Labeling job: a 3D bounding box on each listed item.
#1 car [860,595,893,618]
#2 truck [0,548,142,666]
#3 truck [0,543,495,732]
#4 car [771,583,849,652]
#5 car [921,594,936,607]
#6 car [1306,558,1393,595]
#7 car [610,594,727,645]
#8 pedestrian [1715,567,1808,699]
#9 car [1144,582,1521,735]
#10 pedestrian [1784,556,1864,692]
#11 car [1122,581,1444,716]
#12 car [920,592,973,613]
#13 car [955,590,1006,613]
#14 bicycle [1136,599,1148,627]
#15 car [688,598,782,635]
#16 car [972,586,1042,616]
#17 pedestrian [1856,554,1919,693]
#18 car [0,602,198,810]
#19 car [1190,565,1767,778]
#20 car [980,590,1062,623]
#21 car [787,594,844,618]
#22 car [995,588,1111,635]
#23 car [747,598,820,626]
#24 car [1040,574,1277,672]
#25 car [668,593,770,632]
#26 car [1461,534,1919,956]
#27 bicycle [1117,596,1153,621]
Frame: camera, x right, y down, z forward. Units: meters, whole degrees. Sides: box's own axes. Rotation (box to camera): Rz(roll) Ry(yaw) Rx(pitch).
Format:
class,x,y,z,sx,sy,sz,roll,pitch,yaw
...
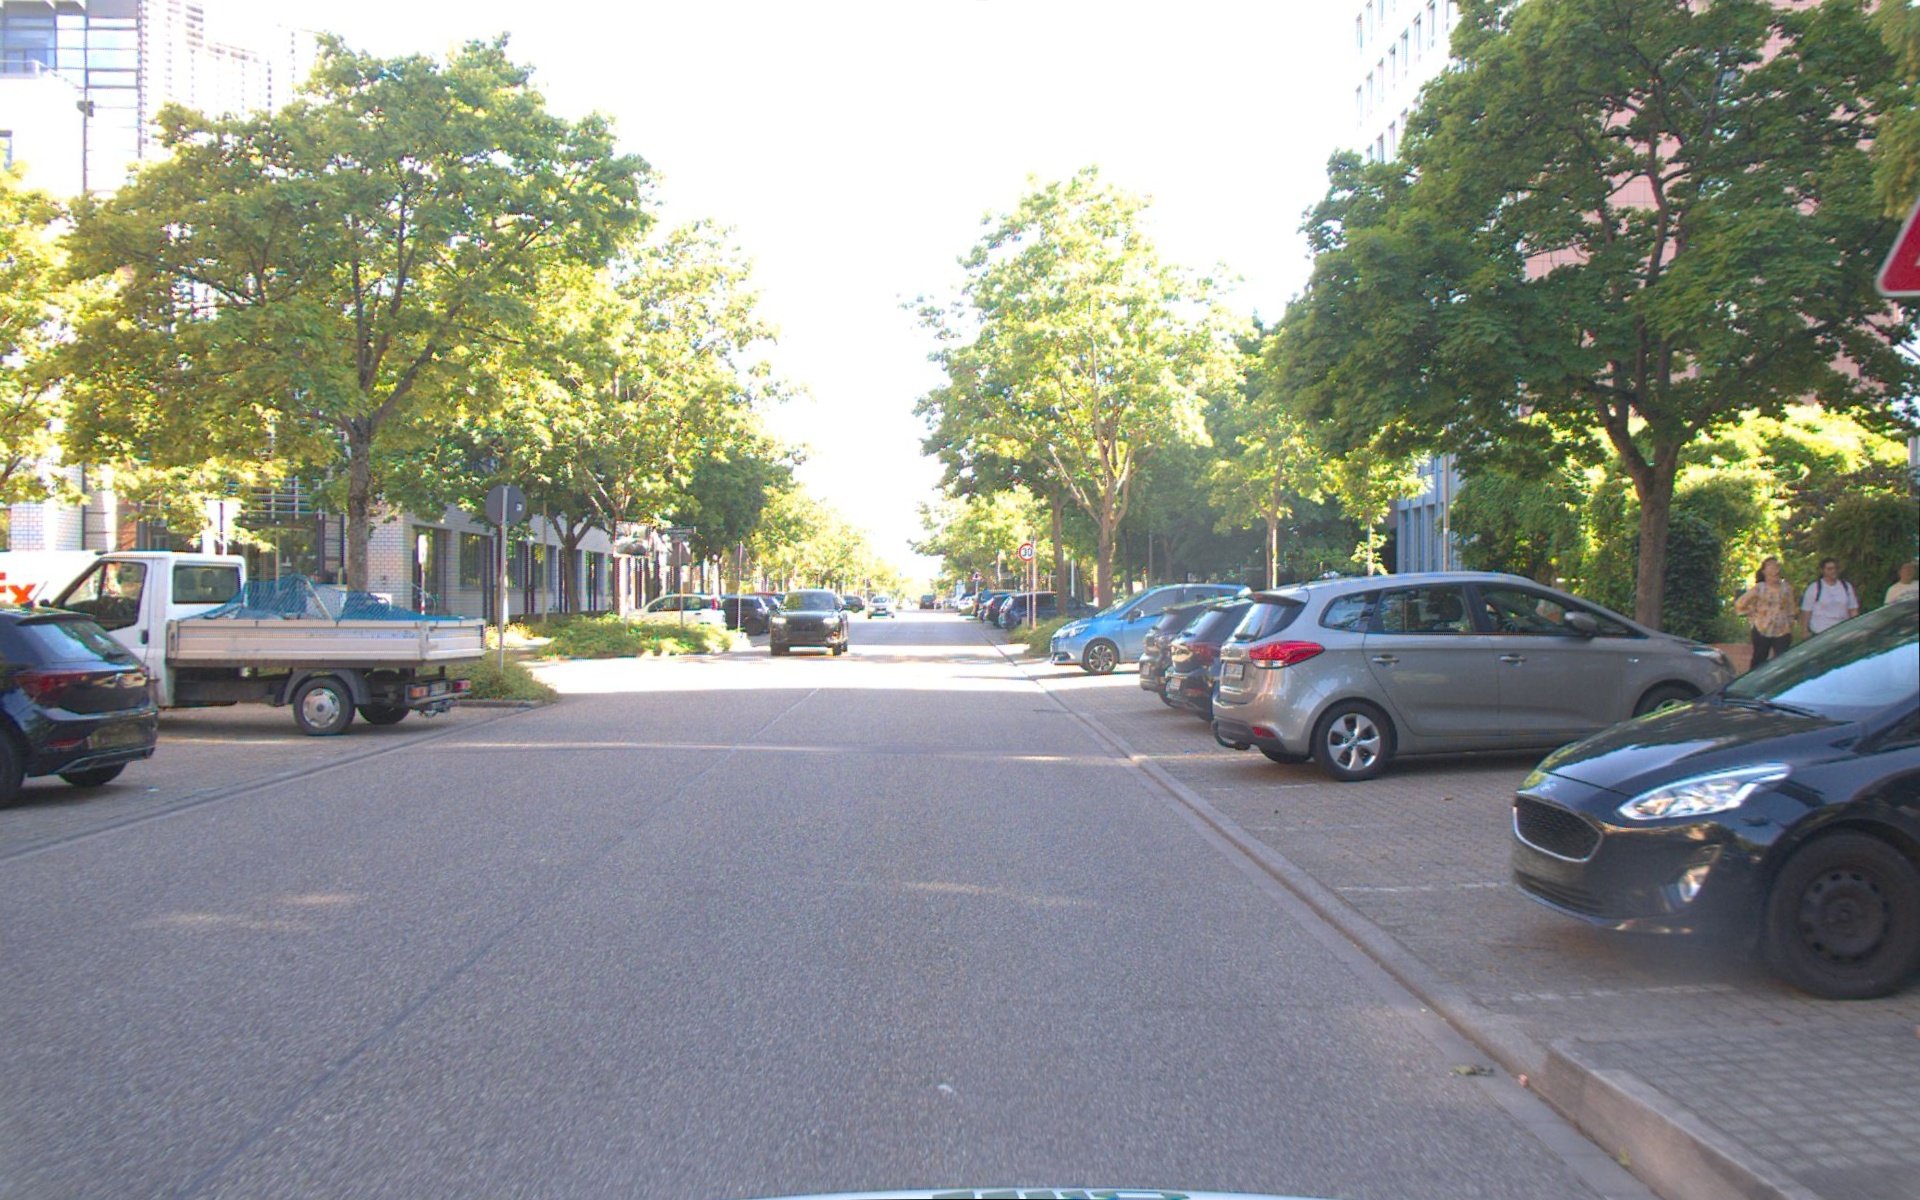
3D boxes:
class,x,y,z,sx,sy,sz,roll,pitch,yaw
car,-5.412,0.402,107.993,1.775,1.440,4.109,0,0,2
truck,-23.472,0.183,40.052,5.982,2.752,2.576,0,0,-3
truck,-8.062,0.400,18.843,4.882,1.993,2.138,0,0,1
car,-3.878,0.434,43.405,1.854,1.713,4.350,0,0,-3
car,-4.110,0.053,214.117,1.894,1.625,4.365,0,0,-1
car,20.322,-1.220,86.362,3.993,1.814,1.998,2,-1,-5
car,-9.339,0.634,53.220,3.509,1.577,1.636,0,-3,-4
pedestrian,9.272,0.370,19.143,0.686,1.483,0.715,1,0,-4
car,4.089,0.606,18.488,3.728,1.433,1.700,-3,1,-7
pedestrian,10.026,0.270,19.199,0.590,1.547,0.594,-1,0,-4
car,4.124,0.588,21.540,3.769,1.509,1.824,-3,1,-2
car,-1.062,0.187,127.178,3.910,1.653,1.997,0,0,-6
car,1.654,0.125,133.822,3.910,1.824,1.997,0,0,-6
bicycle,7.379,0.519,66.955,0.371,1.065,1.886,-2,0,4
car,-9.161,0.660,67.498,3.657,1.489,1.676,0,0,-2
car,2.645,0.079,93.865,3.814,1.685,1.857,0,0,-3
pedestrian,10.941,0.263,19.213,0.741,1.579,0.559,-1,0,-4
car,-8.153,0.742,12.535,3.905,1.460,1.789,0,0,0
car,4.283,0.544,14.033,4.269,1.625,1.936,0,0,-8
car,3.018,0.305,81.904,3.962,1.517,1.549,-1,0,-1
car,-10.424,0.432,119.328,3.904,1.683,1.860,-1,0,1
car,3.478,0.430,62.625,4.183,1.662,1.857,-1,0,-4
car,-9.468,0.660,88.951,3.814,1.489,1.857,0,0,-2
car,3.833,0.441,32.468,4.317,1.646,1.911,-3,0,-2
car,-9.131,0.472,62.870,3.657,1.489,1.676,0,0,-2
car,4.254,0.491,6.766,3.856,1.464,1.773,0,0,-3
bicycle,7.621,0.370,72.231,0.377,1.097,1.759,0,0,-42
